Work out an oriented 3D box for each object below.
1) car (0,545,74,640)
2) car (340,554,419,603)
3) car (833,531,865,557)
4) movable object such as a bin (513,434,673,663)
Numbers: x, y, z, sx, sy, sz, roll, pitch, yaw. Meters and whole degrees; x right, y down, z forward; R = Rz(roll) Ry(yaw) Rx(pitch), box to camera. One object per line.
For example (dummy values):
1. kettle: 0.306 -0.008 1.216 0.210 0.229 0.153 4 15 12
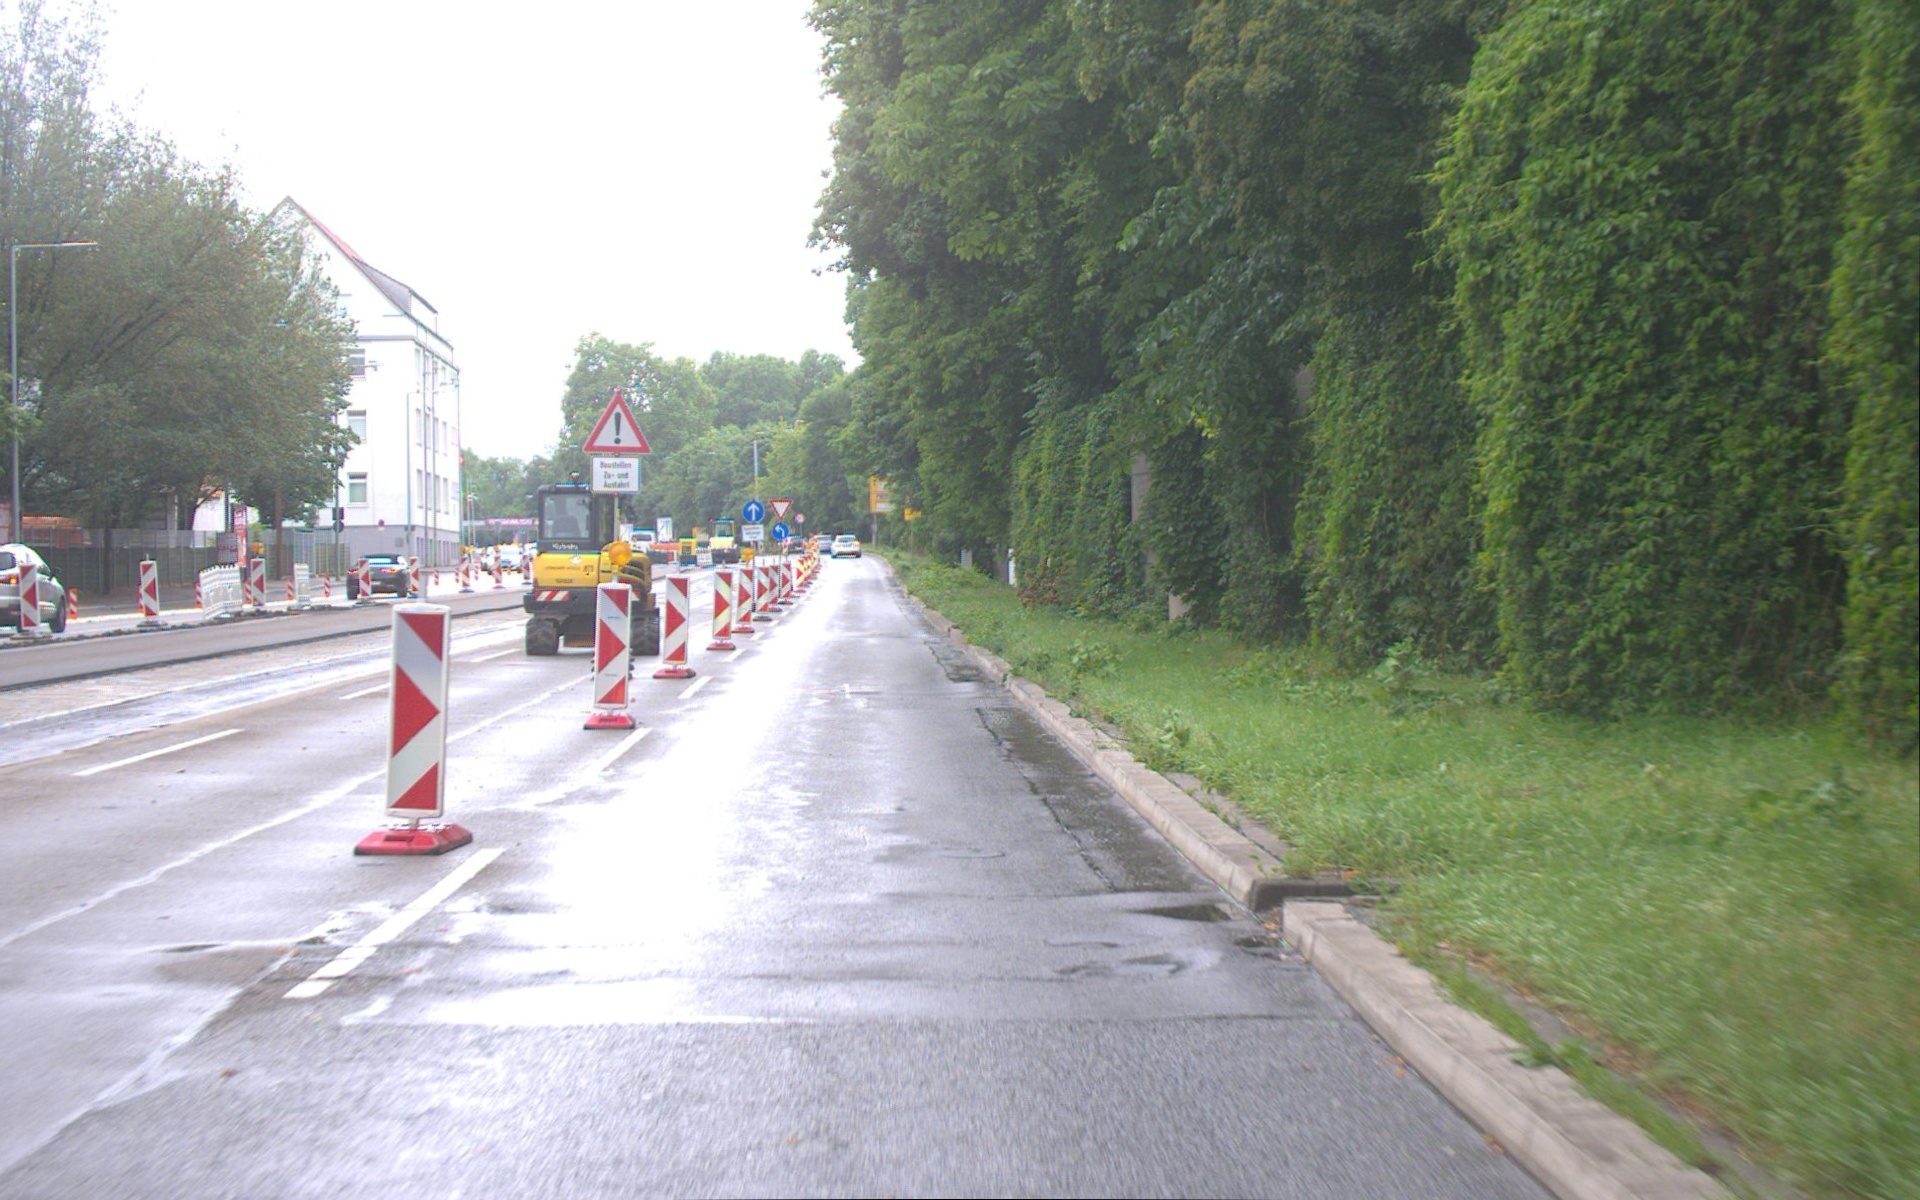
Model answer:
1. car: -17.141 -0.162 61.138 1.854 1.642 4.000 0 1 -2
2. car: -18.544 -0.709 109.970 1.993 1.514 4.000 0 1 -2
3. car: -7.121 -3.590 220.965 1.993 1.667 4.000 0 1 -1
4. movable object such as a bin: -5.640 -0.797 53.489 1.993 3.356 5.983 0 1 -2
